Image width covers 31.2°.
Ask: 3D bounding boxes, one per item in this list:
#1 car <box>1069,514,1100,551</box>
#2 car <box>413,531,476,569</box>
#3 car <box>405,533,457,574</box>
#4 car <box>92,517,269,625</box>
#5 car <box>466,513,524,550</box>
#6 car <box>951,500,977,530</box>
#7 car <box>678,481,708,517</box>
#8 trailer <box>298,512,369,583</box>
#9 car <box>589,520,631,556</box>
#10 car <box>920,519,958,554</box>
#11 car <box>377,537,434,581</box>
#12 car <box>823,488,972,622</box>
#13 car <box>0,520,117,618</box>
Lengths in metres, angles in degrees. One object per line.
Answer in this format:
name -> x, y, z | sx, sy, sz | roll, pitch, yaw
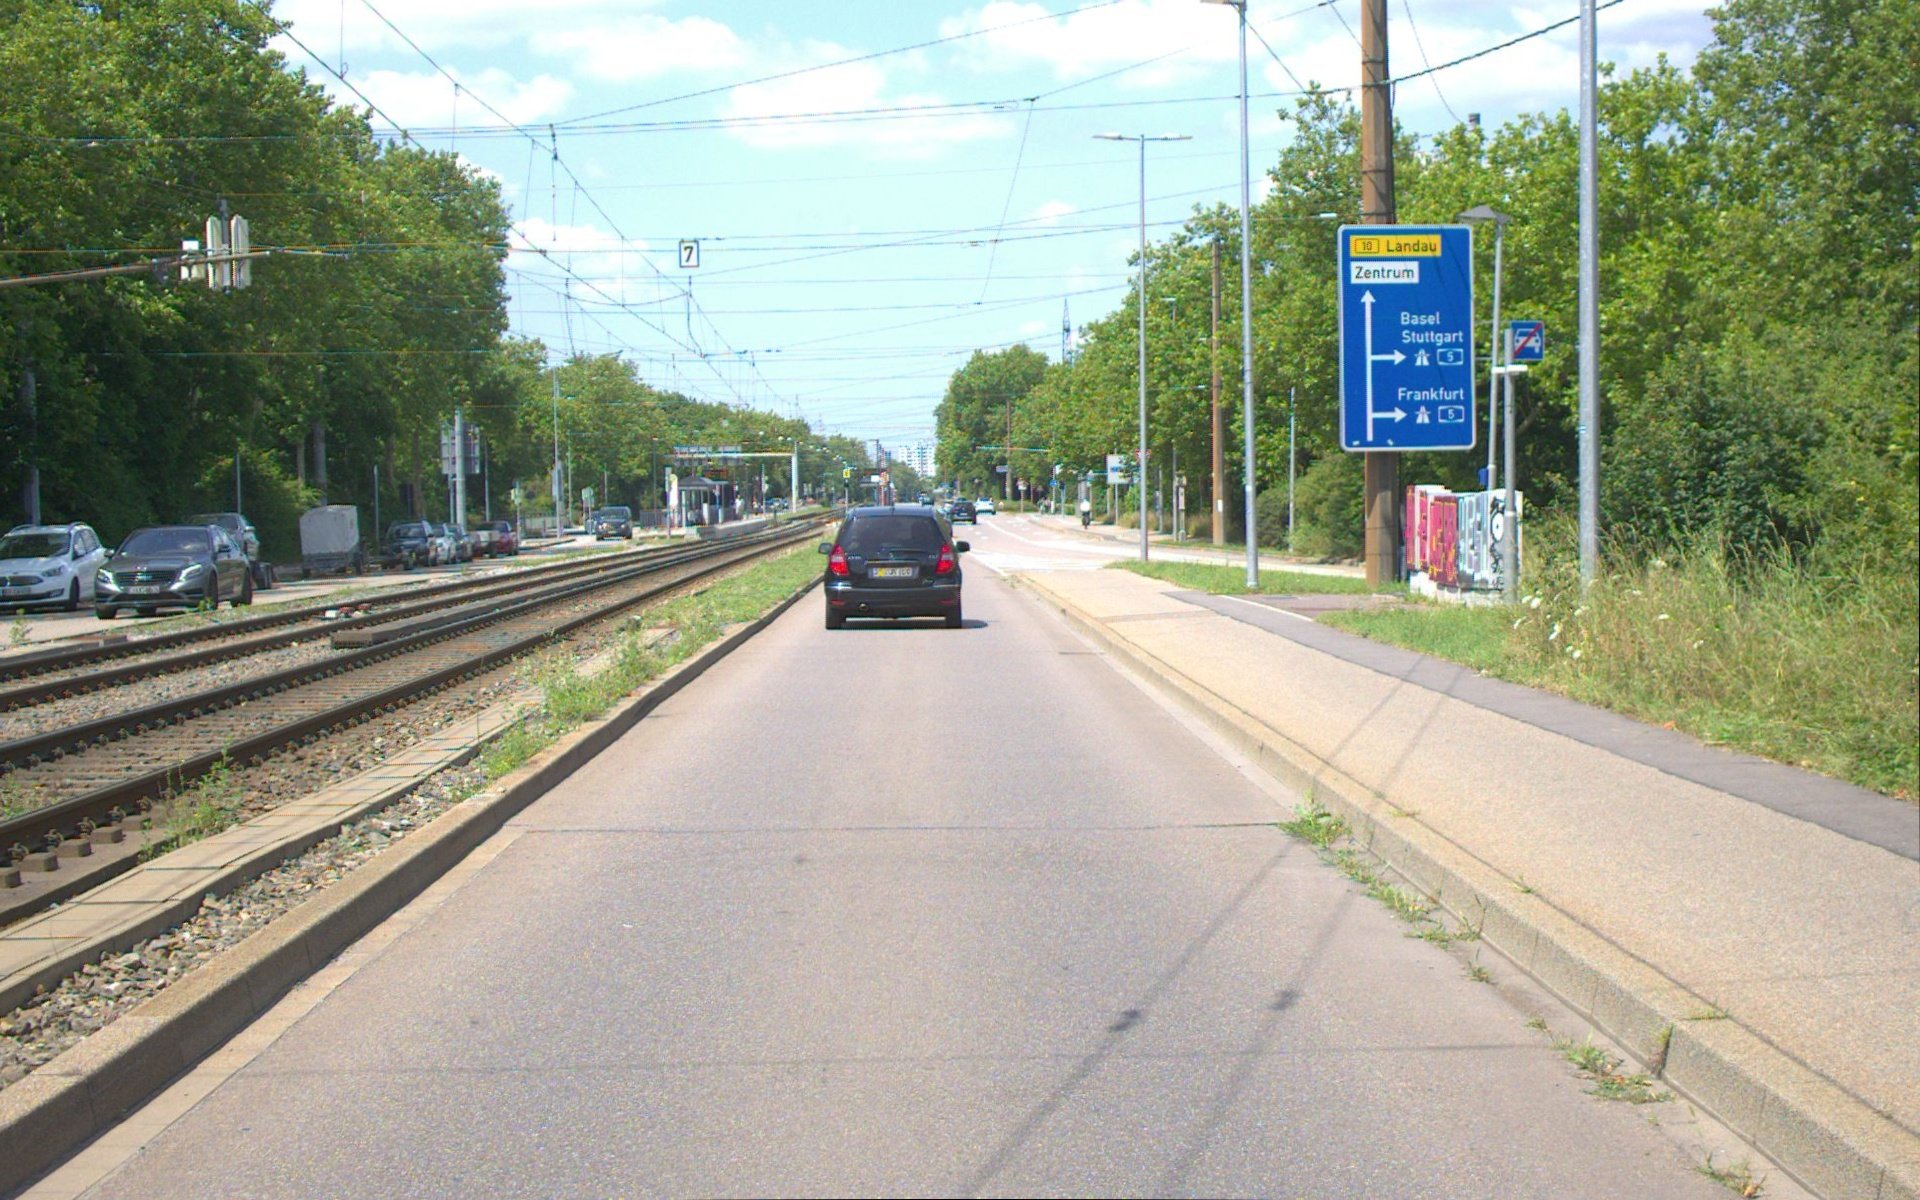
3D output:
car -> 7.188, -3.919, 198.856 | 1.612, 2.006, 3.440 | 0, 3, -1
car -> -19.240, -1.886, 128.500 | 1.870, 1.396, 4.419 | 0, 1, -3
car -> -18.923, -1.672, 122.982 | 1.433, 1.446, 3.741 | 0, 1, -2
car -> -13.069, -0.523, 57.937 | 1.875, 1.714, 5.331 | 0, 1, -1
car -> -19.862, -2.933, 146.974 | 1.993, 1.568, 4.000 | 0, 1, -1
car -> 0.294, -5.973, 241.834 | 1.786, 2.006, 4.001 | 1, 3, -1
car -> -15.654, -5.953, 201.810 | 1.585, 2.006, 4.111 | 0, 3, -2
trailer -> -18.539, -1.572, 101.790 | 1.609, 2.006, 3.917 | 1, 2, -4
car -> -20.185, -3.586, 198.493 | 1.993, 2.007, 4.000 | -1, 1, -1
car -> -1.071, -3.310, 178.930 | 1.885, 1.634, 4.001 | 3, 2, 0
car -> -18.832, -1.392, 116.859 | 1.433, 1.446, 3.922 | 0, 1, -2
car -> -0.775, -0.630, 45.068 | 1.853, 1.564, 4.389 | 0, 3, 0
car -> -17.510, -0.602, 65.686 | 1.720, 1.625, 4.617 | -3, 3, -2
